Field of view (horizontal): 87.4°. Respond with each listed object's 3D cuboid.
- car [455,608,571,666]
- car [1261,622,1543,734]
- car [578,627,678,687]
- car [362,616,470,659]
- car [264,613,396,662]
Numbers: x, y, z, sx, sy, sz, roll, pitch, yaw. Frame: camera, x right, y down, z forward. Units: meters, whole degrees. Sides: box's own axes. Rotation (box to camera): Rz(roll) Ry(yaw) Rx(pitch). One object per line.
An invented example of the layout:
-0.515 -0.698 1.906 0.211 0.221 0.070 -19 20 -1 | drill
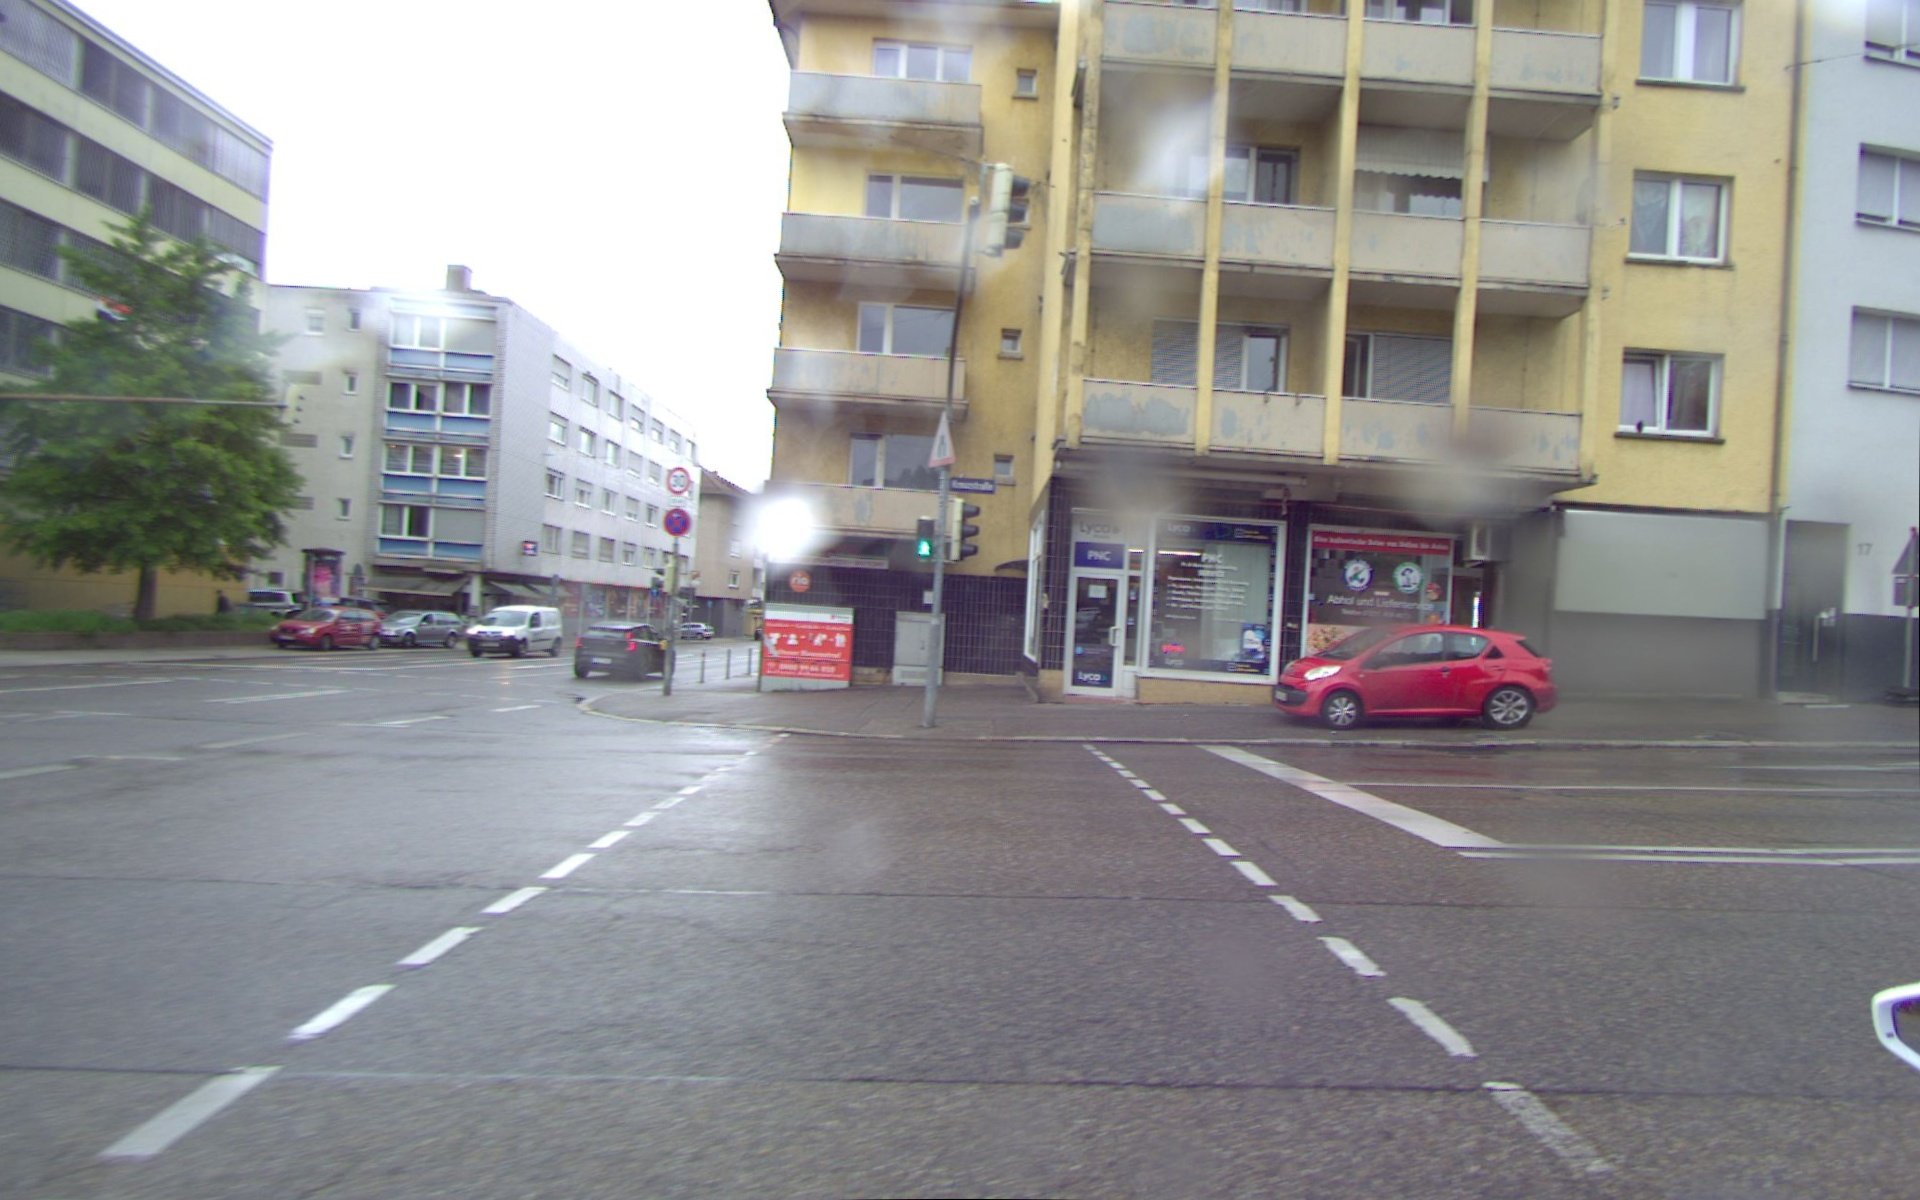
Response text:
-15.624 1.283 35.380 1.951 1.879 4.233 1 -2 3 | car
6.430 1.105 14.876 3.464 1.484 1.614 0 1 0 | car
-9.244 1.549 28.287 1.766 1.530 3.998 2 -2 -5 | car
-20.920 1.447 38.825 1.690 1.445 3.894 3 -2 6 | car
-21.312 1.272 34.174 1.690 1.445 3.894 3 -2 6 | car
